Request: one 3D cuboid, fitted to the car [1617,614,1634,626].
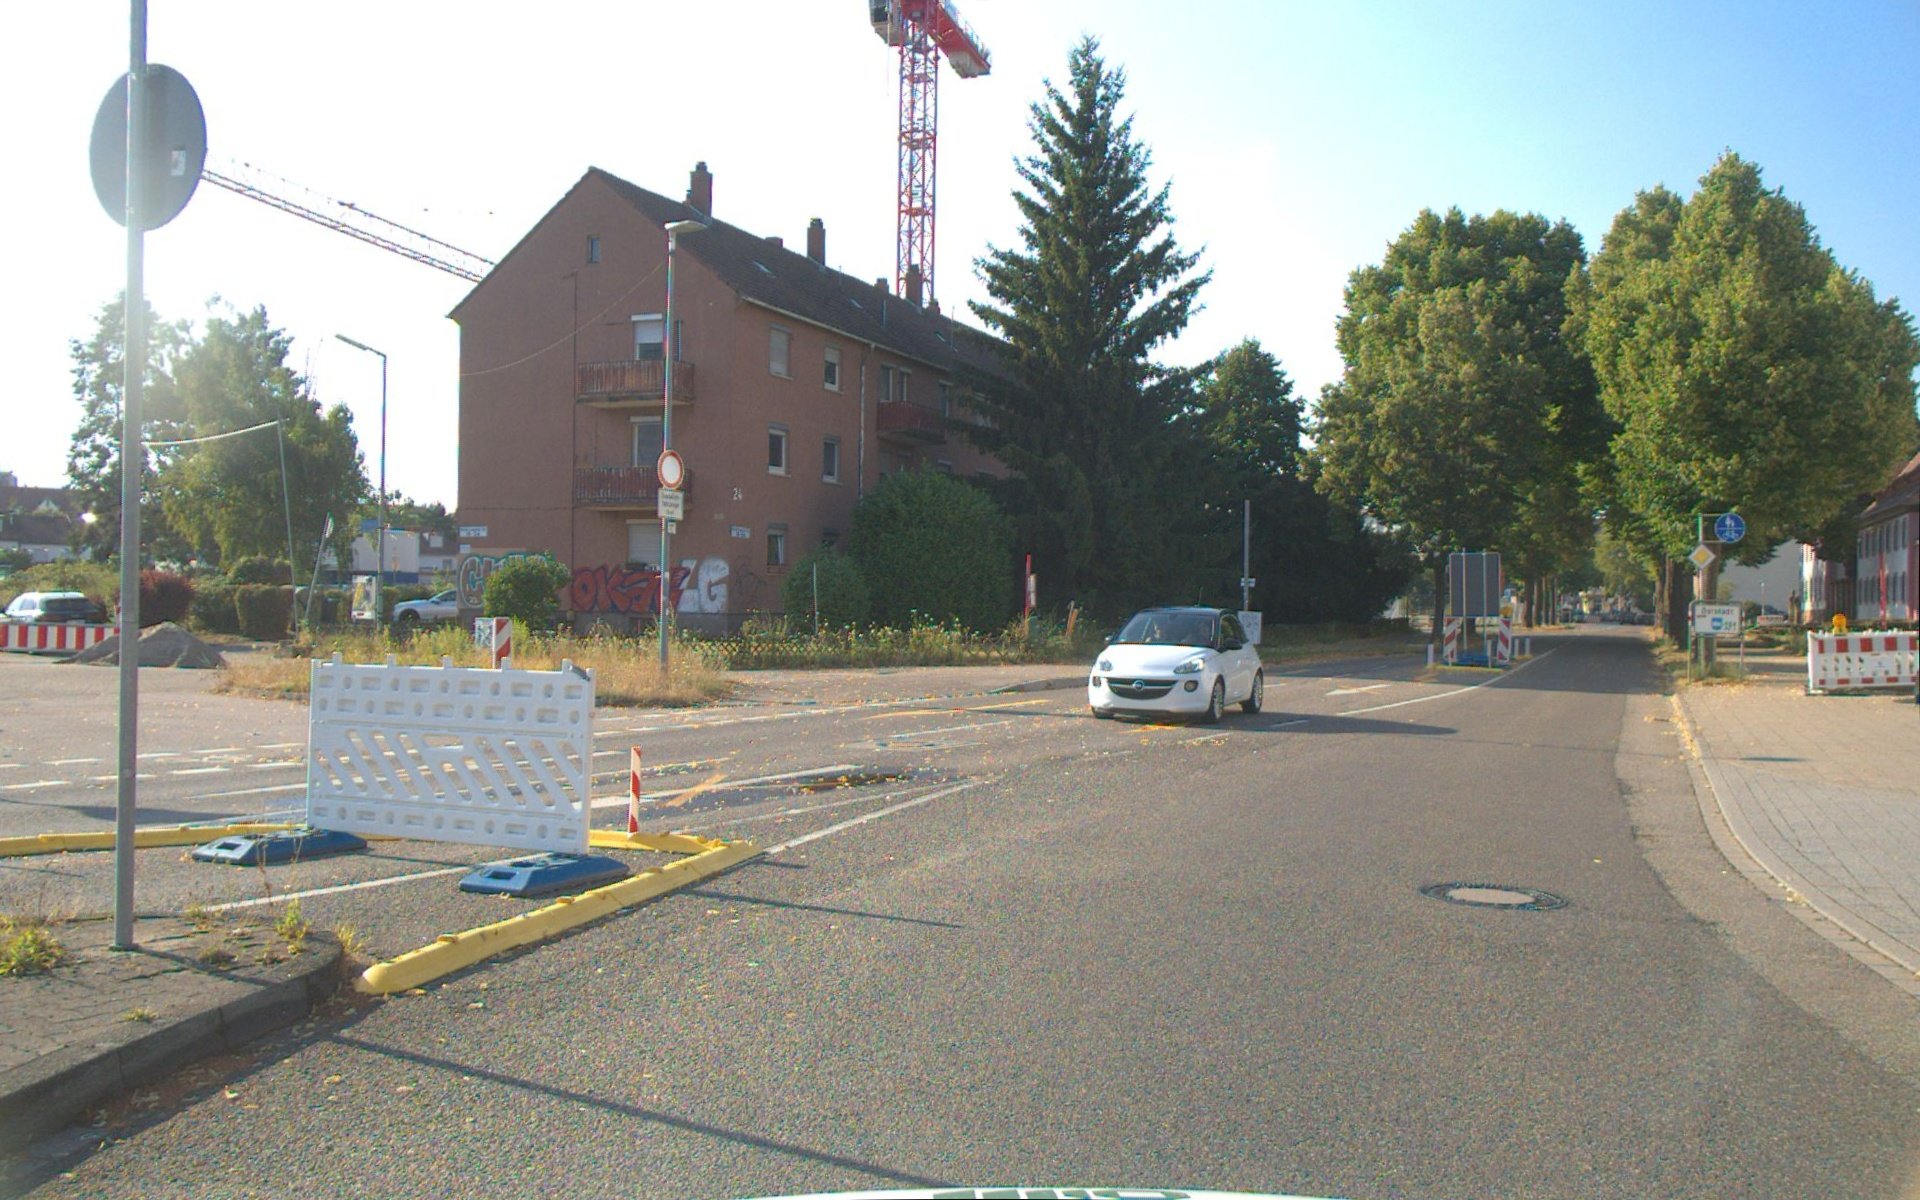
[{"bbox_3d":[85.406,2.620,212.400,1.678,1.512,4.002,0,-1,17],"label":"car"}]

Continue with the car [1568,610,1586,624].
[{"bbox_3d":[82.250,2.284,220.414,1.951,1.717,4.002,0,-1,17],"label":"car"}]

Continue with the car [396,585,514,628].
[{"bbox_3d":[-18.628,0.241,61.152,3.914,1.557,1.996,0,0,-10],"label":"car"}]

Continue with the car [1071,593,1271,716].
[{"bbox_3d":[2.921,0.677,22.258,1.723,1.446,3.623,2,1,23],"label":"car"}]

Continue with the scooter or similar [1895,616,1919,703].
[{"bbox_3d":[15.193,0.914,26.038,0.547,1.315,1.462,-4,-2,22],"label":"scooter or similar"}]

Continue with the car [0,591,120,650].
[{"bbox_3d":[-25.512,0.546,46.628,3.929,1.579,1.988,0,0,42],"label":"car"}]
